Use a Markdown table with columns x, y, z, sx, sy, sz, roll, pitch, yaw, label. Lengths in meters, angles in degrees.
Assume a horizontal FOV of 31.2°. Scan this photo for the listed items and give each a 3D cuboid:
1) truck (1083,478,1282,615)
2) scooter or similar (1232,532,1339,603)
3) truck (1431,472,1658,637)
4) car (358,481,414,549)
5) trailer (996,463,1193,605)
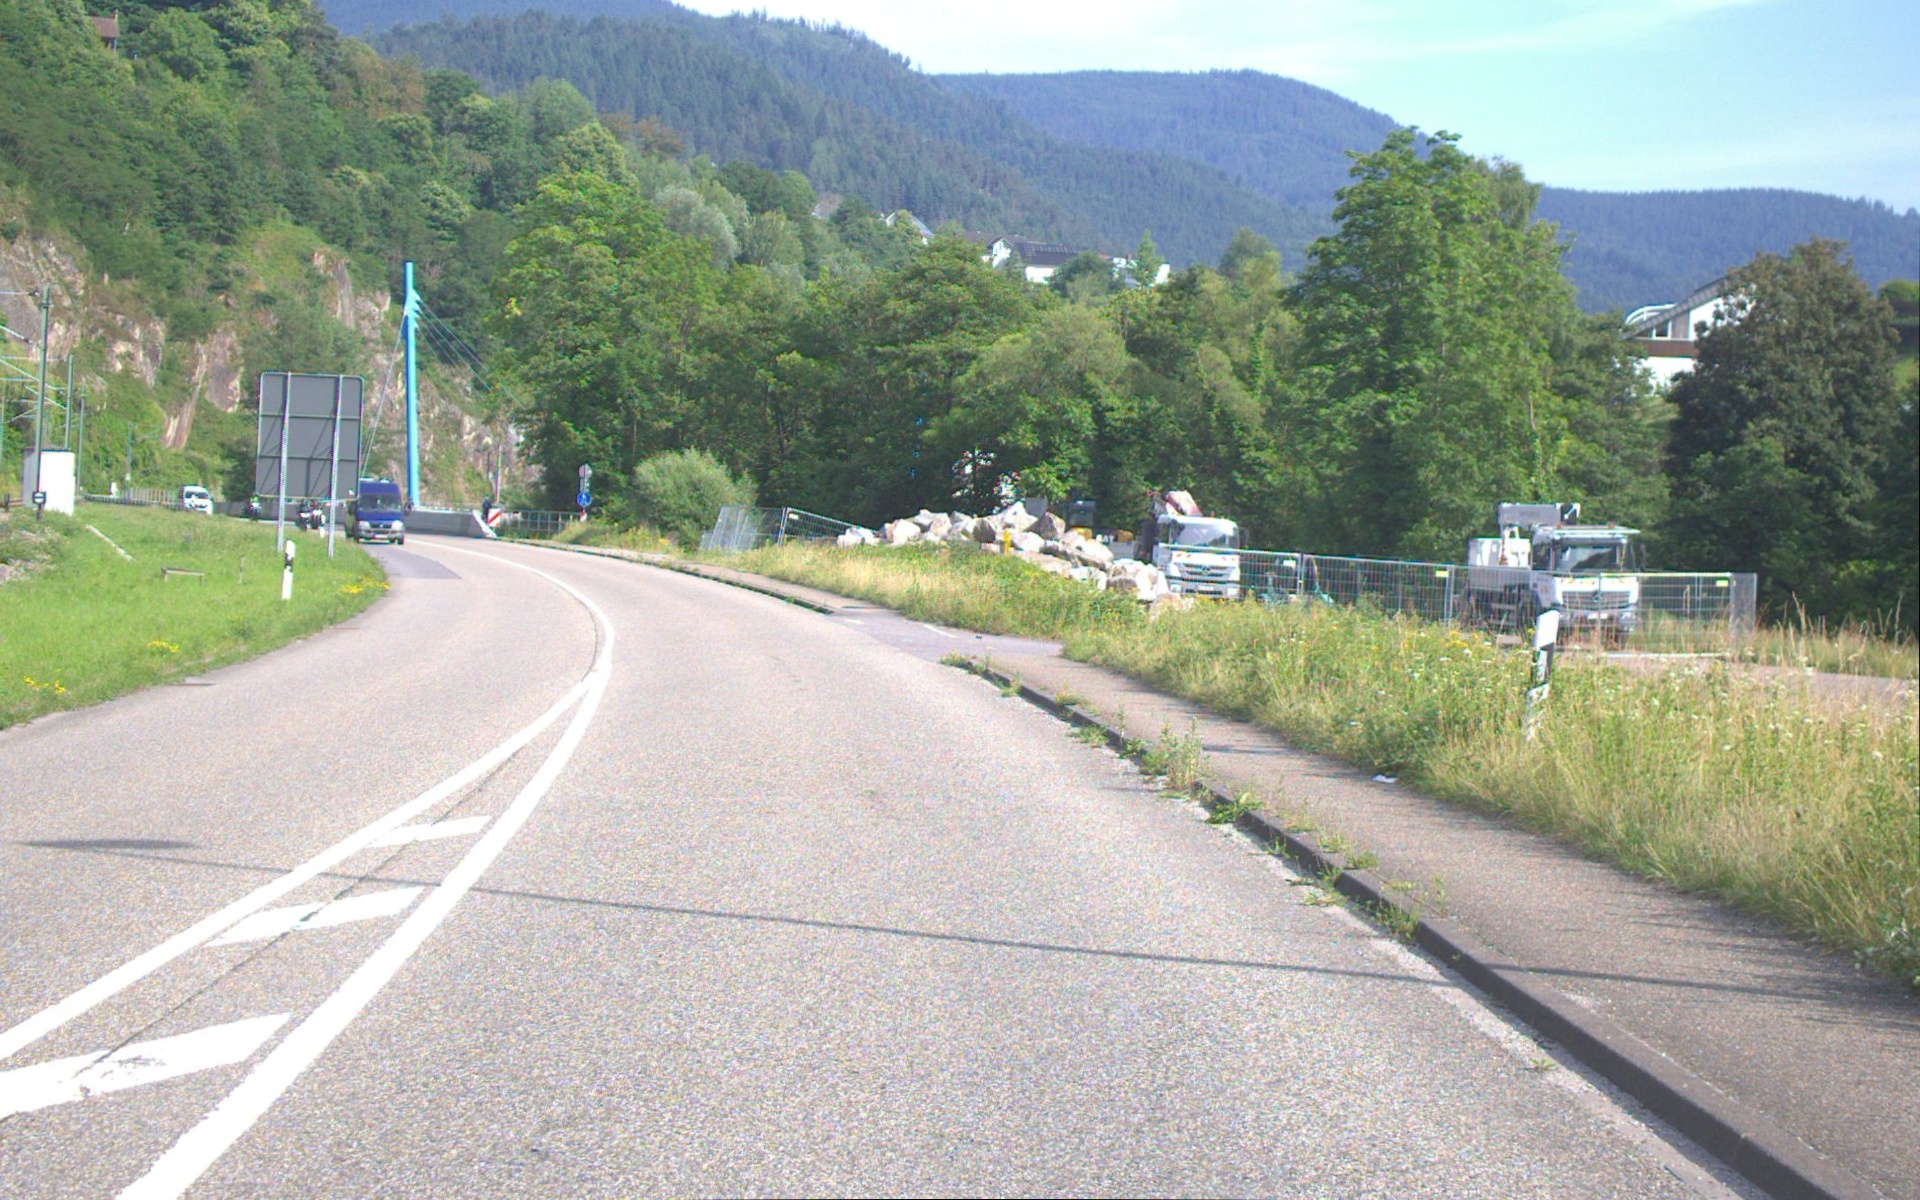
| x | y | z | sx | sy | sz | roll | pitch | yaw | label |
| --- | --- | --- | --- | --- | --- | --- | --- | --- | --- |
| 6.591 | -1.671 | 103.489 | 3.102 | 3.769 | 8.648 | 3 | 1 | -15 | truck |
| 9.717 | -0.989 | 102.948 | 1.993 | 2.007 | 4.001 | 1 | 1 | -12 | scooter or similar |
| 14.637 | -1.209 | 86.884 | 3.102 | 3.769 | 8.647 | 4 | 1 | -7 | truck |
| -22.555 | -3.361 | 135.211 | 2.126 | 2.606 | 5.481 | 0 | 2 | -9 | car |
| 4.276 | -2.163 | 112.443 | 3.364 | 4.259 | 9.912 | 3 | 0 | -15 | trailer |
